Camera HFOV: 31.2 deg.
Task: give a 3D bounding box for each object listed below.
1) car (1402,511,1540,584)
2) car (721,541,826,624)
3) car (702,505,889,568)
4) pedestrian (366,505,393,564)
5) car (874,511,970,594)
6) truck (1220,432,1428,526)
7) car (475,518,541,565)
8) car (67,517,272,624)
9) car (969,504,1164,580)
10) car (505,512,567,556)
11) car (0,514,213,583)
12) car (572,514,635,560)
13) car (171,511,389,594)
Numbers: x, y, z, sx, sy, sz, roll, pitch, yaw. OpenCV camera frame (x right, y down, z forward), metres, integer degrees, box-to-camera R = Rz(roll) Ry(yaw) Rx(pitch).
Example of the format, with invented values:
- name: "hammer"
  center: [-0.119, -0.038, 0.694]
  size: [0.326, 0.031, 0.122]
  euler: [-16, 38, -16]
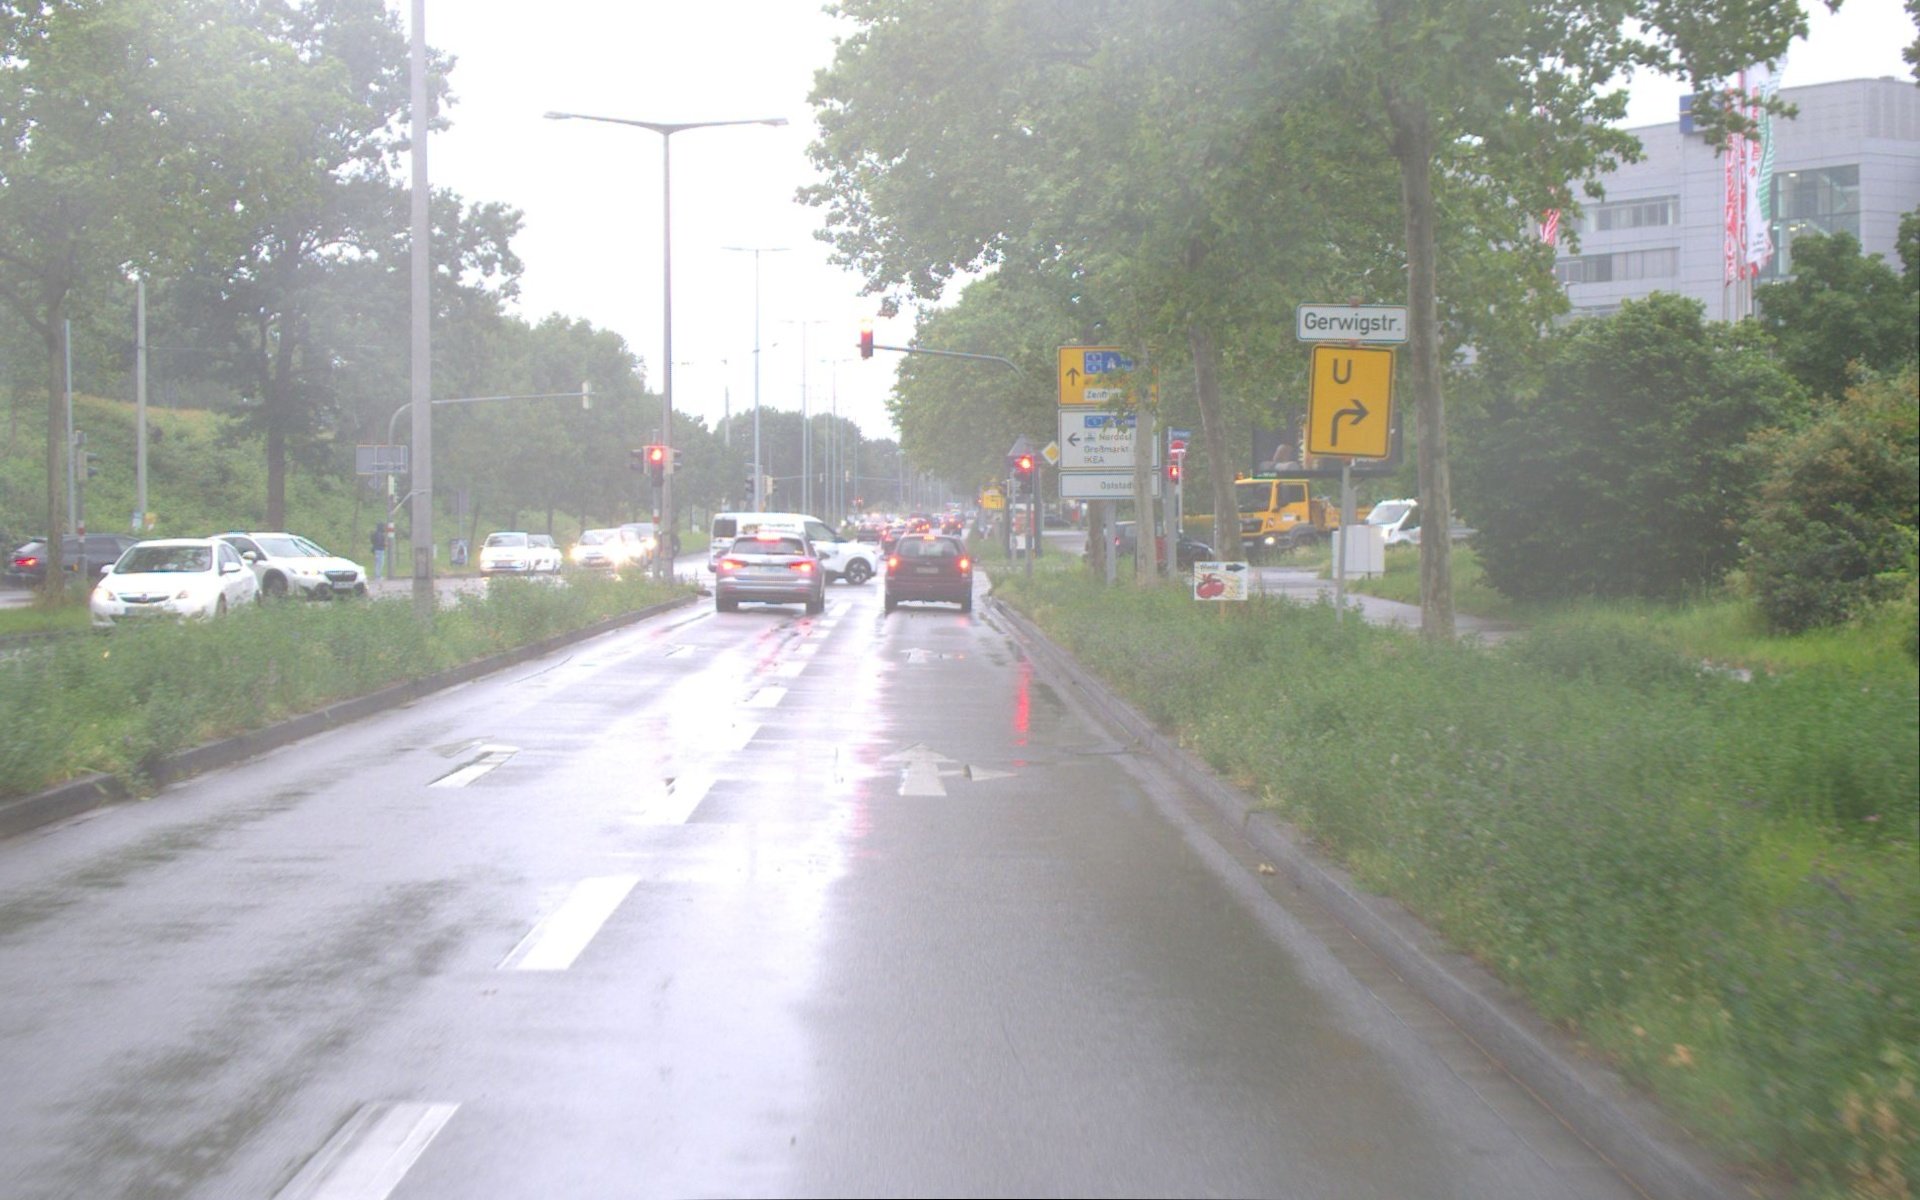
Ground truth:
- name: "car"
  center: [16.722, -1.739, 112.428]
  size: [4.374, 2.183, 1.802]
  euler: [-4, 3, -35]
- name: "car"
  center: [-3.360, -0.345, 62.565]
  size: [1.690, 1.428, 4.574]
  euler: [1, 1, 0]
- name: "car"
  center: [-4.144, -1.613, 86.795]
  size: [4.372, 1.532, 1.802]
  euler: [-1, 1, -29]
- name: "pedestrian"
  center: [-17.767, -2.014, 105.180]
  size: [0.533, 1.779, 0.673]
  euler: [2, 1, 17]
- name: "car"
  center: [-0.735, -0.945, 67.537]
  size: [1.796, 1.532, 4.387]
  euler: [2, 1, 0]
- name: "truck"
  center: [12.230, -4.030, 115.232]
  size: [7.027, 3.043, 2.647]
  euler: [-1, 1, -37]
- name: "car"
  center: [-15.010, -1.974, 114.335]
  size: [1.712, 1.525, 4.000]
  euler: [0, 1, 0]
- name: "car"
  center: [-11.310, -0.456, 49.501]
  size: [1.931, 1.440, 4.658]
  euler: [1, 1, -1]
- name: "car"
  center: [2.466, -1.359, 78.994]
  size: [4.375, 1.531, 1.801]
  euler: [-4, 4, -40]
- name: "car"
  center: [-14.887, -2.344, 120.867]
  size: [1.712, 1.525, 4.000]
  euler: [0, 1, 0]
- name: "car"
  center: [-19.430, -1.177, 78.298]
  size: [4.372, 1.532, 1.802]
  euler: [0, 2, -29]
- name: "car"
  center: [-11.951, -2.129, 115.538]
  size: [1.712, 1.525, 4.000]
  euler: [0, 1, 0]
- name: "car"
  center: [-13.454, -0.952, 67.900]
  size: [4.515, 1.583, 1.858]
  euler: [1, 2, 42]
